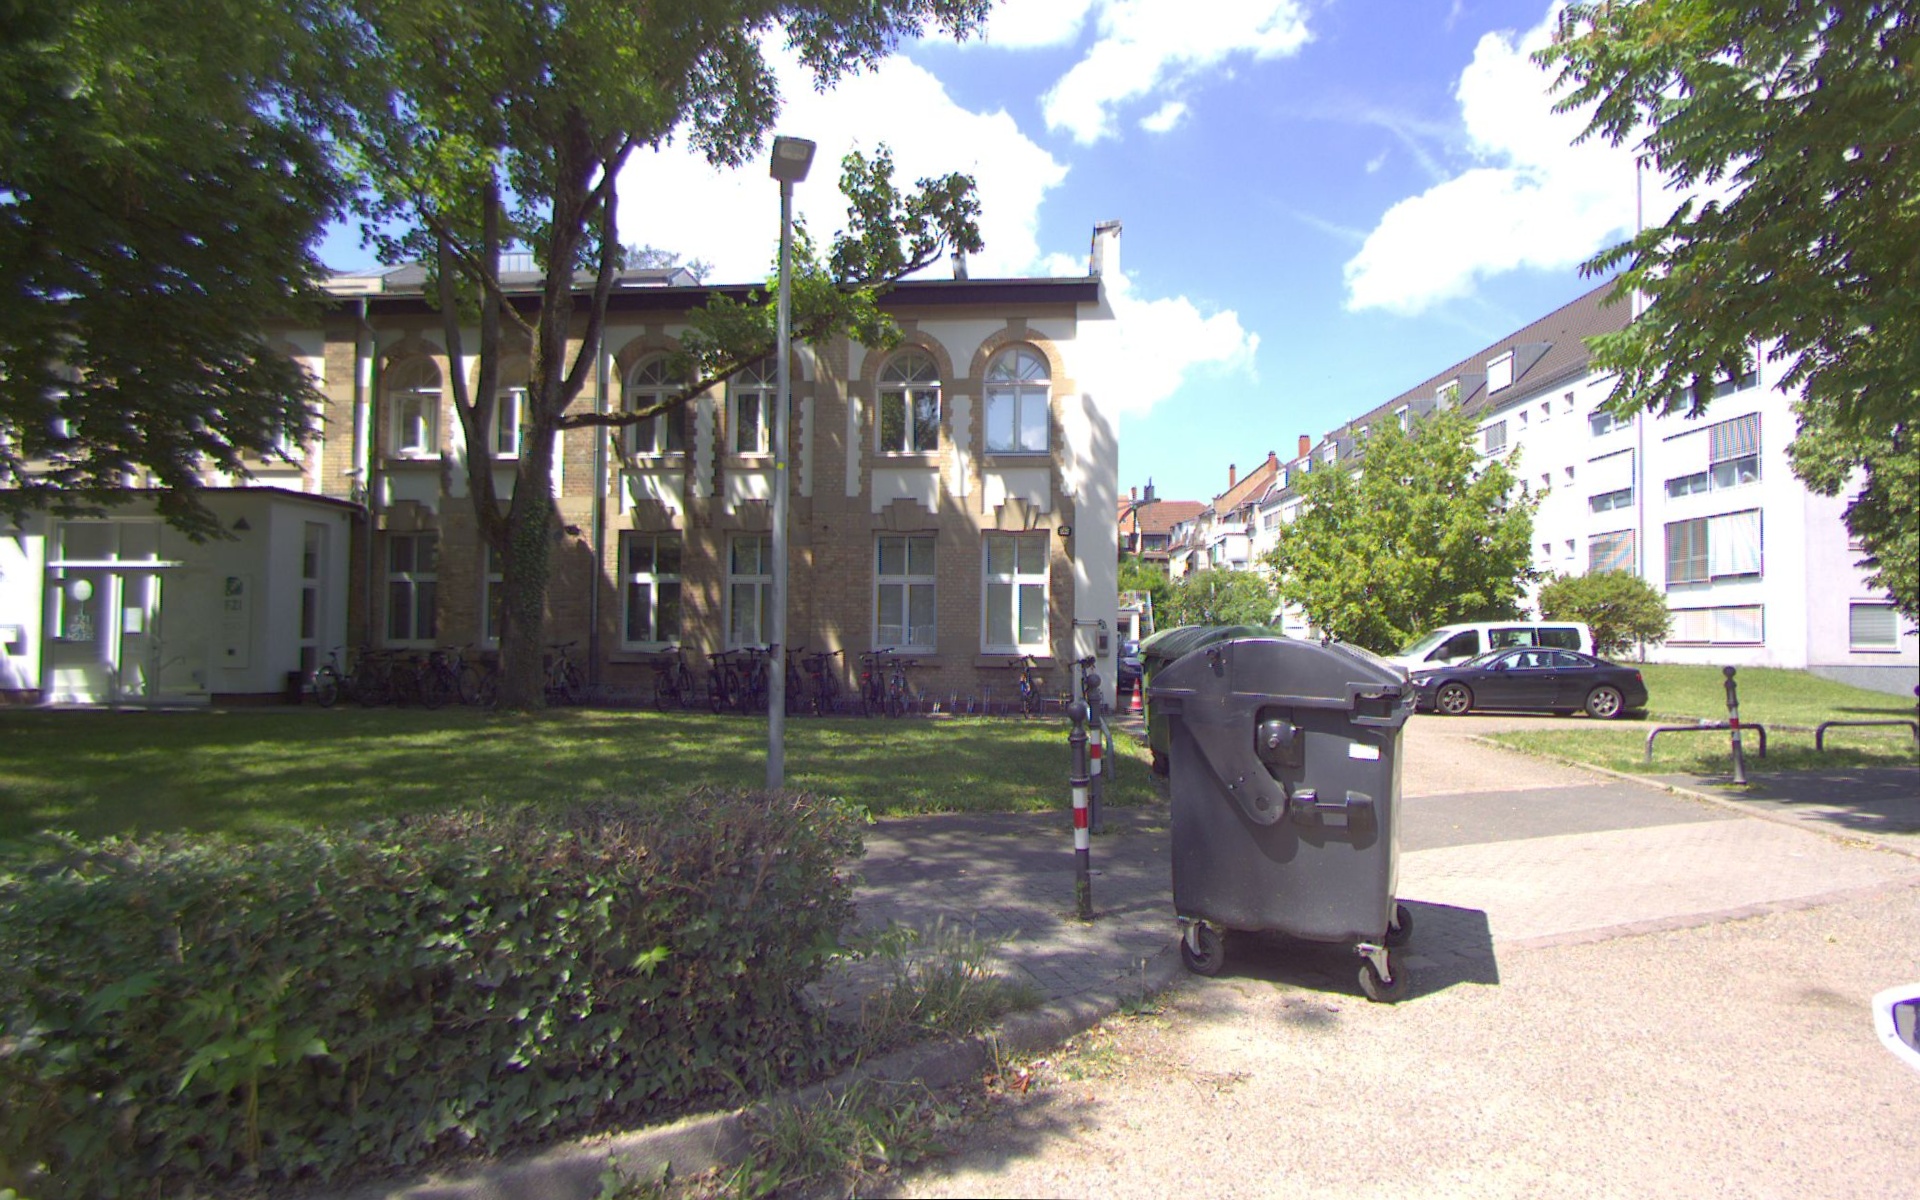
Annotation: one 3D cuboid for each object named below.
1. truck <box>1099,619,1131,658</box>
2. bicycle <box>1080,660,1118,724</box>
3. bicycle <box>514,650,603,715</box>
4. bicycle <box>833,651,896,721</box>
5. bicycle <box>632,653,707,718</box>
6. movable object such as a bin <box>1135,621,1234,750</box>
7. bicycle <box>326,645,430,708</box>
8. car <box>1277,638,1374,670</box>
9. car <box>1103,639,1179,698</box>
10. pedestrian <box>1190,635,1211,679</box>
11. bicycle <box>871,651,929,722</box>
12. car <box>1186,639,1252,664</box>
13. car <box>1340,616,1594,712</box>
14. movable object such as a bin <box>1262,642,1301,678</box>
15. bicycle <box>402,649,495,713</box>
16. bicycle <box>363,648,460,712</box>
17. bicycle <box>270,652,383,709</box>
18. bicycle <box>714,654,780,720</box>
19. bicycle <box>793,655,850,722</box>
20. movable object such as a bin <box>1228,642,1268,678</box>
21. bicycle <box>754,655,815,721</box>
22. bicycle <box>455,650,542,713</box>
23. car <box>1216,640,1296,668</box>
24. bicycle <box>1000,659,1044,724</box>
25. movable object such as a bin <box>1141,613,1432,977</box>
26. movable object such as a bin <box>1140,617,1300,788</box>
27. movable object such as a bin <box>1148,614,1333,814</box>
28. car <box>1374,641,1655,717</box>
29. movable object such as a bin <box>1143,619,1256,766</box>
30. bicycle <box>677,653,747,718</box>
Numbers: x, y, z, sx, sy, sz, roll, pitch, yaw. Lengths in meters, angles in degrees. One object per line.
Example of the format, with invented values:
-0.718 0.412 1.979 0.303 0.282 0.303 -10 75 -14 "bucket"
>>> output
11.982 3.001 78.018 1.758 2.975 4.654 1 -2 0 "truck"
2.335 1.531 16.978 0.601 0.971 1.731 0 -2 7 "bicycle"
-7.118 1.436 17.931 0.595 1.024 2.260 0 -2 2 "bicycle"
-1.626 1.460 17.481 0.595 1.096 2.261 0 -2 7 "bicycle"
-5.051 1.462 17.607 0.595 1.024 2.260 0 -2 2 "bicycle"
2.740 1.021 12.441 1.026 1.499 1.411 0 -2 6 "movable object such as a bin"
-10.426 1.337 18.091 0.620 1.025 2.259 0 -2 -3 "bicycle"
17.104 2.526 47.127 3.920 1.498 1.805 0 -2 4 "car"
4.877 1.810 27.517 1.725 1.448 4.389 0 -2 6 "car"
9.930 2.352 41.533 0.744 1.778 0.752 0 -2 6 "pedestrian"
-1.004 1.457 17.381 0.595 1.096 2.261 0 -2 7 "bicycle"
16.765 3.332 65.156 3.920 1.554 1.805 0 -2 4 "car"
11.284 1.418 22.666 4.678 2.040 2.002 0 -3 5 "car"
12.245 2.274 38.296 1.195 1.344 1.161 0 -2 8 "movable object such as a bin"
-9.148 1.420 18.070 0.595 1.024 2.259 0 -2 -2 "bicycle"
-9.791 1.399 18.021 0.559 1.024 2.259 0 -2 -2 "bicycle"
-11.227 1.398 17.905 0.643 0.902 2.259 0 -2 -2 "bicycle"
-3.671 1.476 17.520 0.595 1.024 2.260 0 -2 2 "bicycle"
-2.375 1.504 17.409 0.595 1.024 2.260 0 -2 2 "bicycle"
10.964 2.285 38.319 1.316 1.344 1.161 0 -2 8 "movable object such as a bin"
-3.017 1.490 17.470 0.595 1.024 2.260 0 -2 2 "bicycle"
-8.195 1.421 17.945 0.595 1.024 2.259 0 -2 -2 "bicycle"
16.332 2.982 55.534 3.920 1.498 1.805 0 -2 4 "car"
1.083 1.529 17.145 0.595 0.971 2.261 0 -2 7 "bicycle"
1.560 0.786 4.695 1.096 1.412 1.159 -1 -2 28 "movable object such as a bin"
2.428 0.926 9.576 1.076 1.499 1.359 0 -2 -5 "movable object such as a bin"
2.235 0.882 8.233 1.184 1.499 1.326 0 -2 2 "movable object such as a bin"
10.862 1.523 19.971 4.533 1.370 1.835 0 -2 5 "car"
2.571 0.972 10.957 1.026 1.499 1.263 0 -2 6 "movable object such as a bin"
-4.306 1.462 17.603 0.595 1.024 2.260 0 -2 2 "bicycle"
